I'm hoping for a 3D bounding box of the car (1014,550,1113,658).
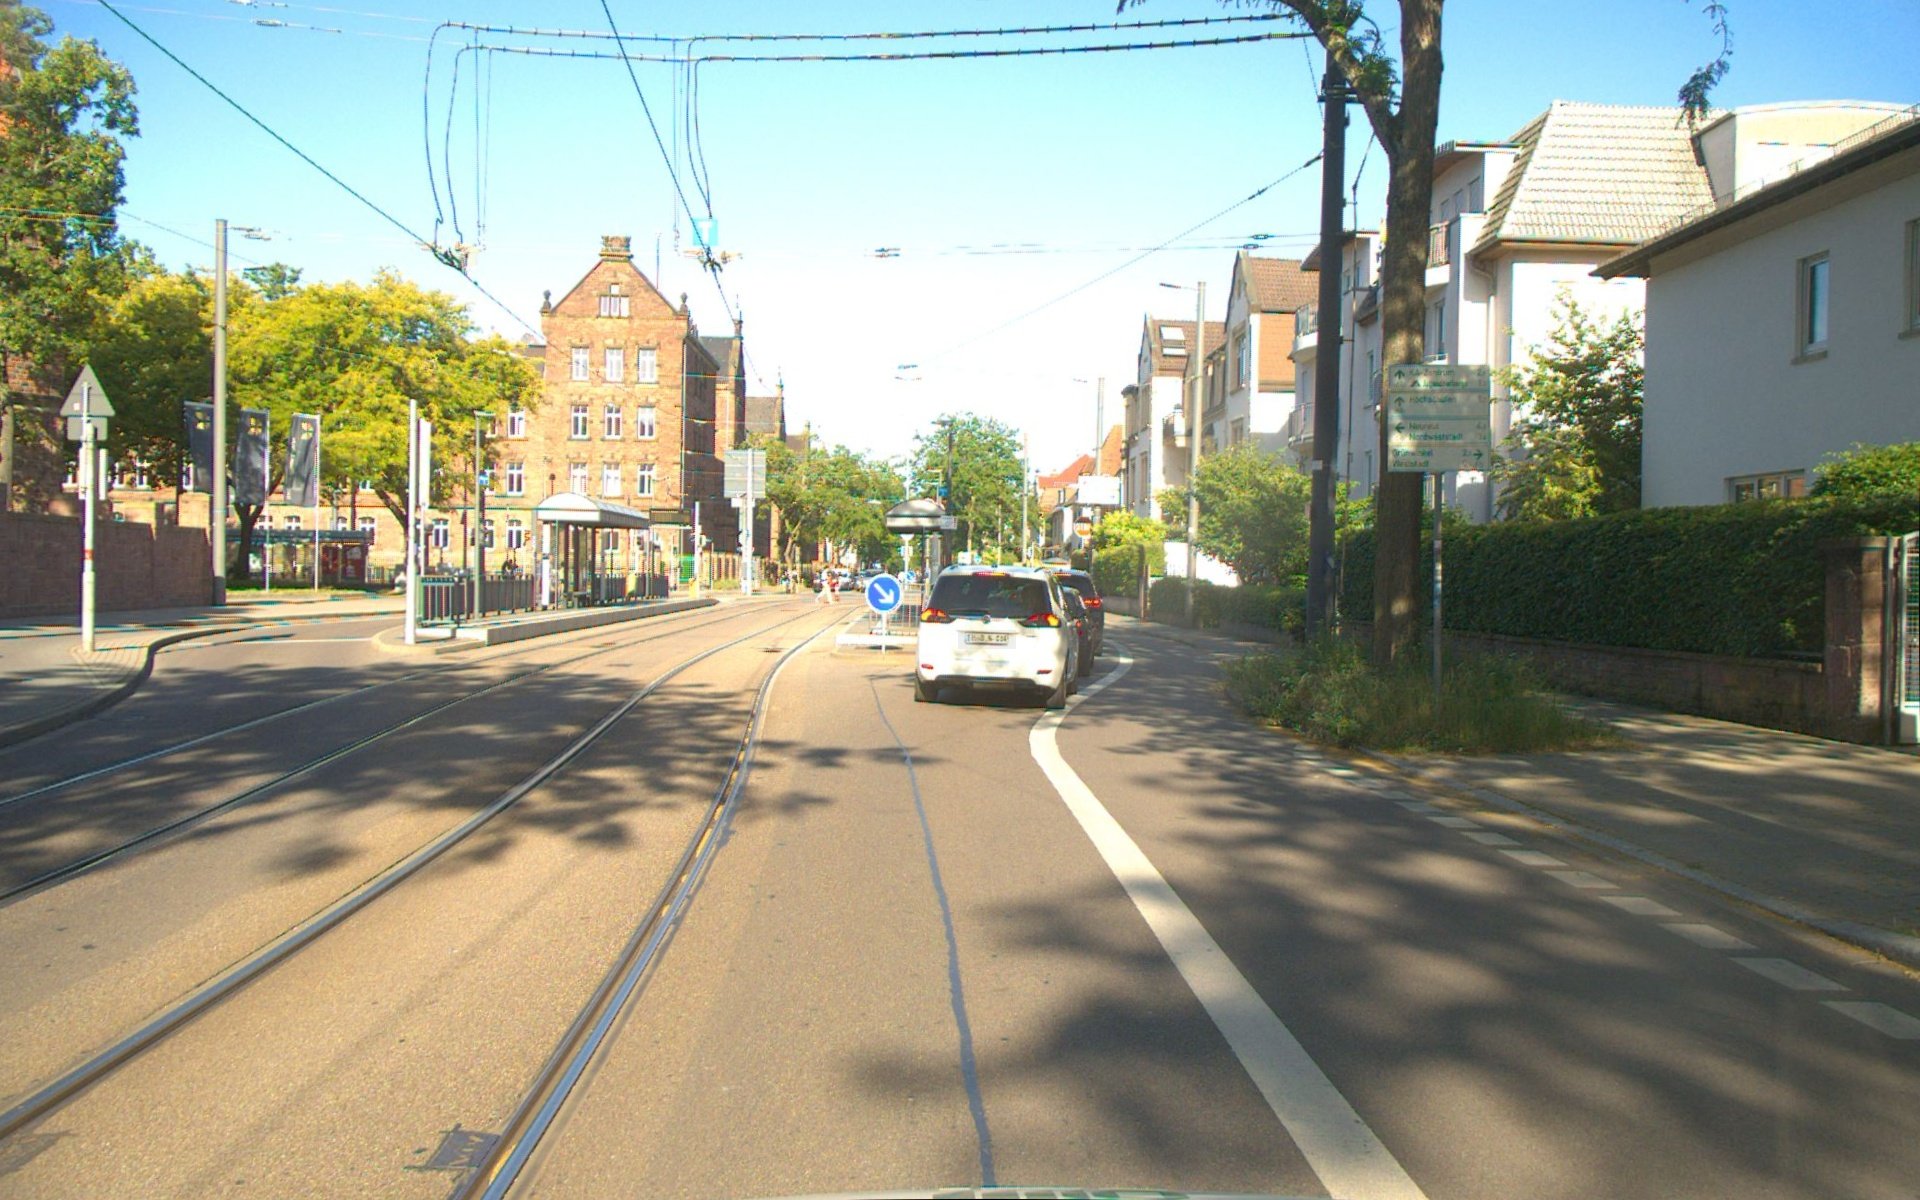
[{"bbox_3d":[2.150,0.052,33.532,1.672,2.049,3.910,1,1,8],"label":"car"}]

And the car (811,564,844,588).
[{"bbox_3d":[-10.168,-1.849,126.986,1.952,1.752,4.002,1,1,3],"label":"car"}]

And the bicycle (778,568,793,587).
[{"bbox_3d":[-12.225,-1.571,115.894,0.805,1.319,2.676,1,1,-2],"label":"bicycle"}]

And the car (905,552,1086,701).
[{"bbox_3d":[0.554,0.336,20.751,1.852,1.639,4.231,1,-1,7],"label":"car"}]

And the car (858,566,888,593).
[{"bbox_3d":[-6.309,-1.485,120.446,1.953,1.947,4.000,1,0,0],"label":"car"}]

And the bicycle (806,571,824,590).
[{"bbox_3d":[-10.400,-1.416,118.750,1.125,1.319,2.859,1,1,-3],"label":"bicycle"}]

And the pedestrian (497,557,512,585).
[{"bbox_3d":[-21.304,-1.342,77.374,0.547,1.281,0.530,1,0,-2],"label":"pedestrian"}]

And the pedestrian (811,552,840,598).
[{"bbox_3d":[-6.053,-1.143,74.403,1.131,2.049,1.120,1,1,3],"label":"pedestrian"}]

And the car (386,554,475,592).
[{"bbox_3d":[-26.726,-1.374,83.633,3.909,1.821,1.998,1,1,-6],"label":"car"}]

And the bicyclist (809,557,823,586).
[{"bbox_3d":[-10.359,-2.046,118.741,0.932,2.049,0.823,1,0,-4],"label":"bicyclist"}]

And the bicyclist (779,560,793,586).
[{"bbox_3d":[-12.215,-1.906,116.179,0.924,1.764,0.861,1,0,-2],"label":"bicyclist"}]

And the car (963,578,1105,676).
[{"bbox_3d":[1.311,0.388,27.405,1.951,1.467,4.004,1,1,8],"label":"car"}]
